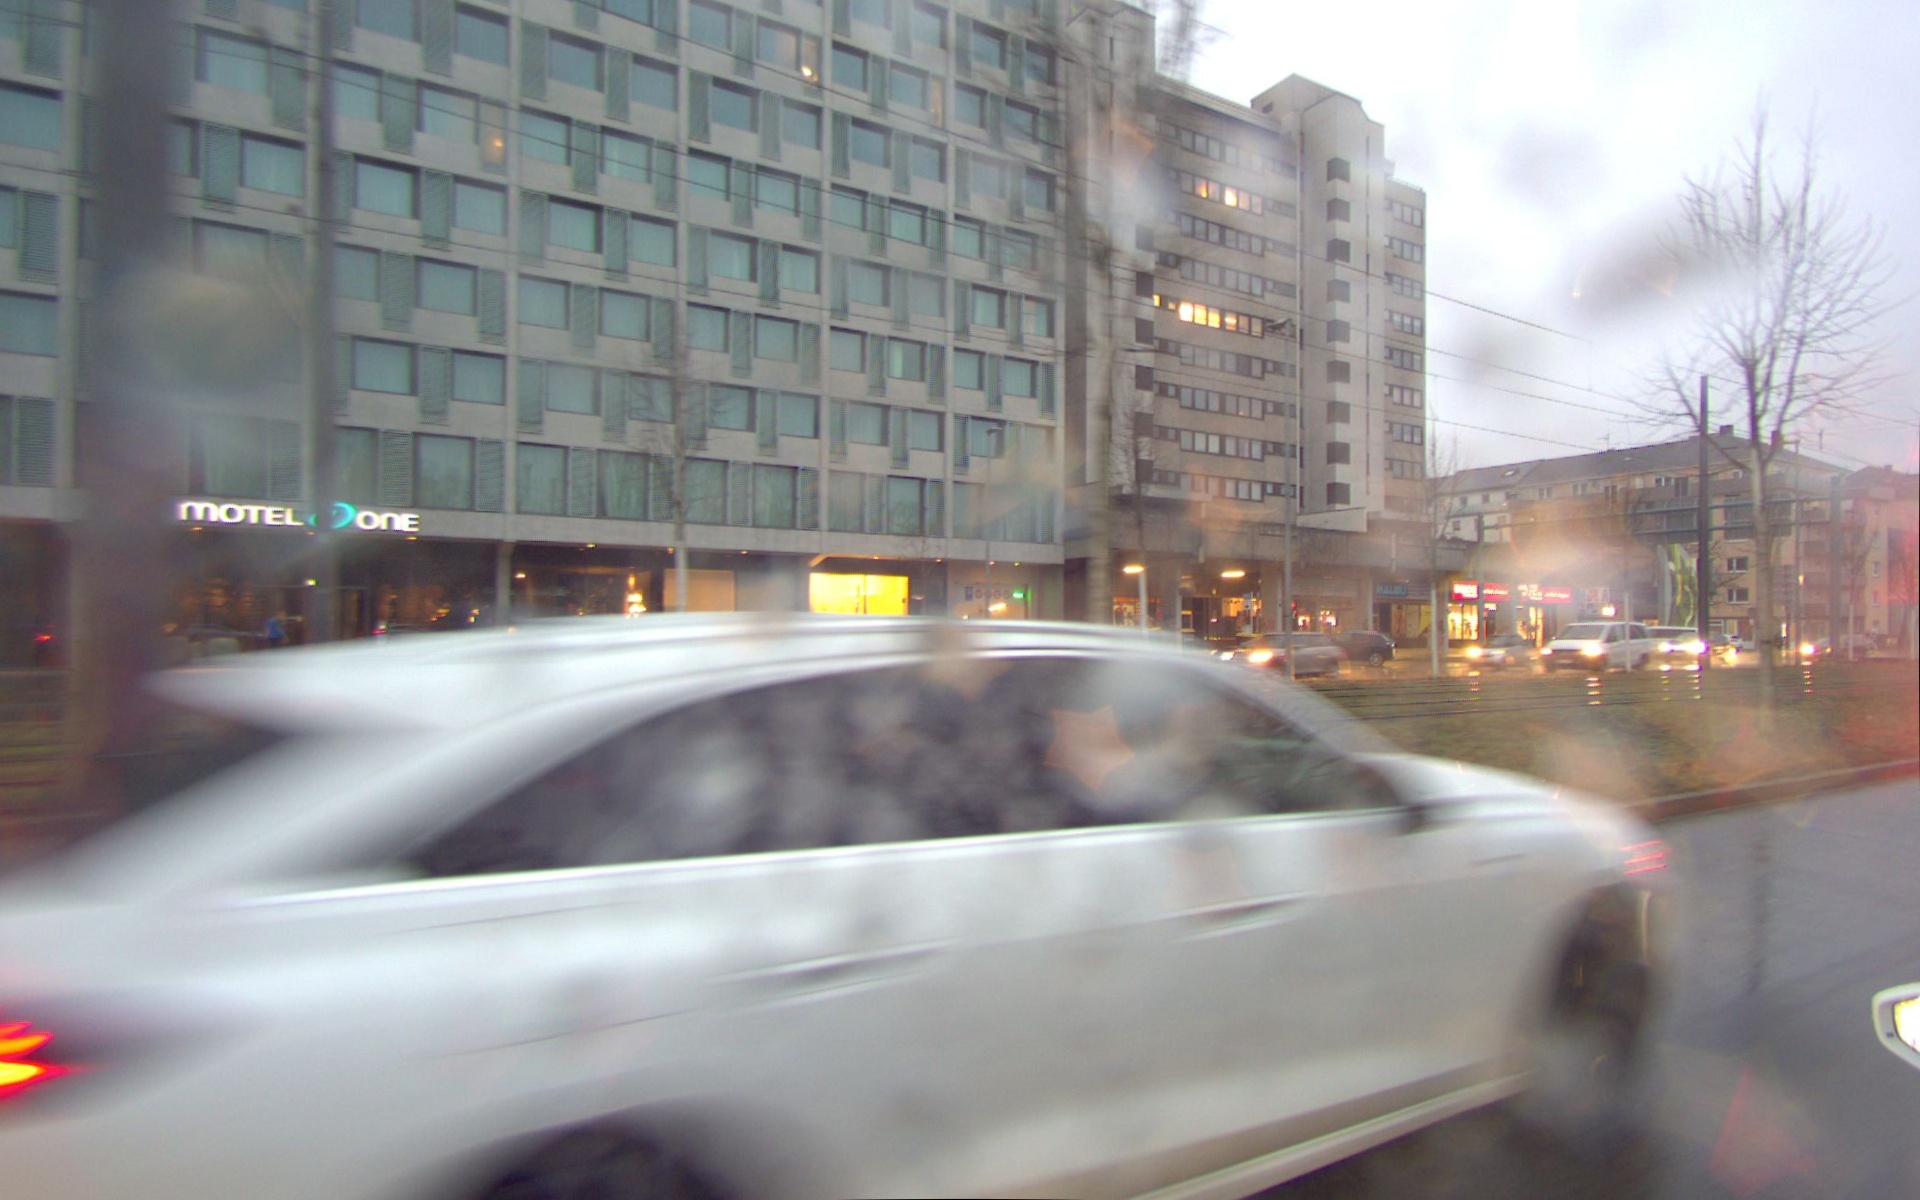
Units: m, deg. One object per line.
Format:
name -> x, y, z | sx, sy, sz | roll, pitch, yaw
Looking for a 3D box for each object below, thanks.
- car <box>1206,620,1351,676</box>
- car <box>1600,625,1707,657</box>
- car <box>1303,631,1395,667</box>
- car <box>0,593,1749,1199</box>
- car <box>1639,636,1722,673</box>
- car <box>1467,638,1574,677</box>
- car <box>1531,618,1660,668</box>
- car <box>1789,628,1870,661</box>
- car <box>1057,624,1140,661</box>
car -> 8.781, 1.292, 27.634 | 3.664, 1.450, 1.886 | 1, -2, -31
car -> 42.866, 2.531, 62.205 | 5.059, 1.937, 2.001 | 0, -1, 15
car -> 18.509, 2.294, 47.797 | 3.925, 1.405, 1.935 | 3, 0, 25
car -> 0.152, 0.759, 2.886 | 4.561, 1.424, 1.837 | 2, 0, -31
car -> 37.922, 2.844, 52.838 | 4.477, 1.837, 1.887 | 1, -1, -30
car -> 24.017, 2.420, 43.030 | 4.736, 1.536, 1.887 | 1, -1, -30
car -> 23.184, 1.539, 36.608 | 5.058, 1.741, 1.887 | 1, -1, -31
car -> 48.106, 2.417, 55.548 | 4.858, 1.742, 1.887 | 1, -1, -30
car -> 6.754, 2.065, 49.340 | 1.709, 1.718, 4.336 | 1, -1, -32
